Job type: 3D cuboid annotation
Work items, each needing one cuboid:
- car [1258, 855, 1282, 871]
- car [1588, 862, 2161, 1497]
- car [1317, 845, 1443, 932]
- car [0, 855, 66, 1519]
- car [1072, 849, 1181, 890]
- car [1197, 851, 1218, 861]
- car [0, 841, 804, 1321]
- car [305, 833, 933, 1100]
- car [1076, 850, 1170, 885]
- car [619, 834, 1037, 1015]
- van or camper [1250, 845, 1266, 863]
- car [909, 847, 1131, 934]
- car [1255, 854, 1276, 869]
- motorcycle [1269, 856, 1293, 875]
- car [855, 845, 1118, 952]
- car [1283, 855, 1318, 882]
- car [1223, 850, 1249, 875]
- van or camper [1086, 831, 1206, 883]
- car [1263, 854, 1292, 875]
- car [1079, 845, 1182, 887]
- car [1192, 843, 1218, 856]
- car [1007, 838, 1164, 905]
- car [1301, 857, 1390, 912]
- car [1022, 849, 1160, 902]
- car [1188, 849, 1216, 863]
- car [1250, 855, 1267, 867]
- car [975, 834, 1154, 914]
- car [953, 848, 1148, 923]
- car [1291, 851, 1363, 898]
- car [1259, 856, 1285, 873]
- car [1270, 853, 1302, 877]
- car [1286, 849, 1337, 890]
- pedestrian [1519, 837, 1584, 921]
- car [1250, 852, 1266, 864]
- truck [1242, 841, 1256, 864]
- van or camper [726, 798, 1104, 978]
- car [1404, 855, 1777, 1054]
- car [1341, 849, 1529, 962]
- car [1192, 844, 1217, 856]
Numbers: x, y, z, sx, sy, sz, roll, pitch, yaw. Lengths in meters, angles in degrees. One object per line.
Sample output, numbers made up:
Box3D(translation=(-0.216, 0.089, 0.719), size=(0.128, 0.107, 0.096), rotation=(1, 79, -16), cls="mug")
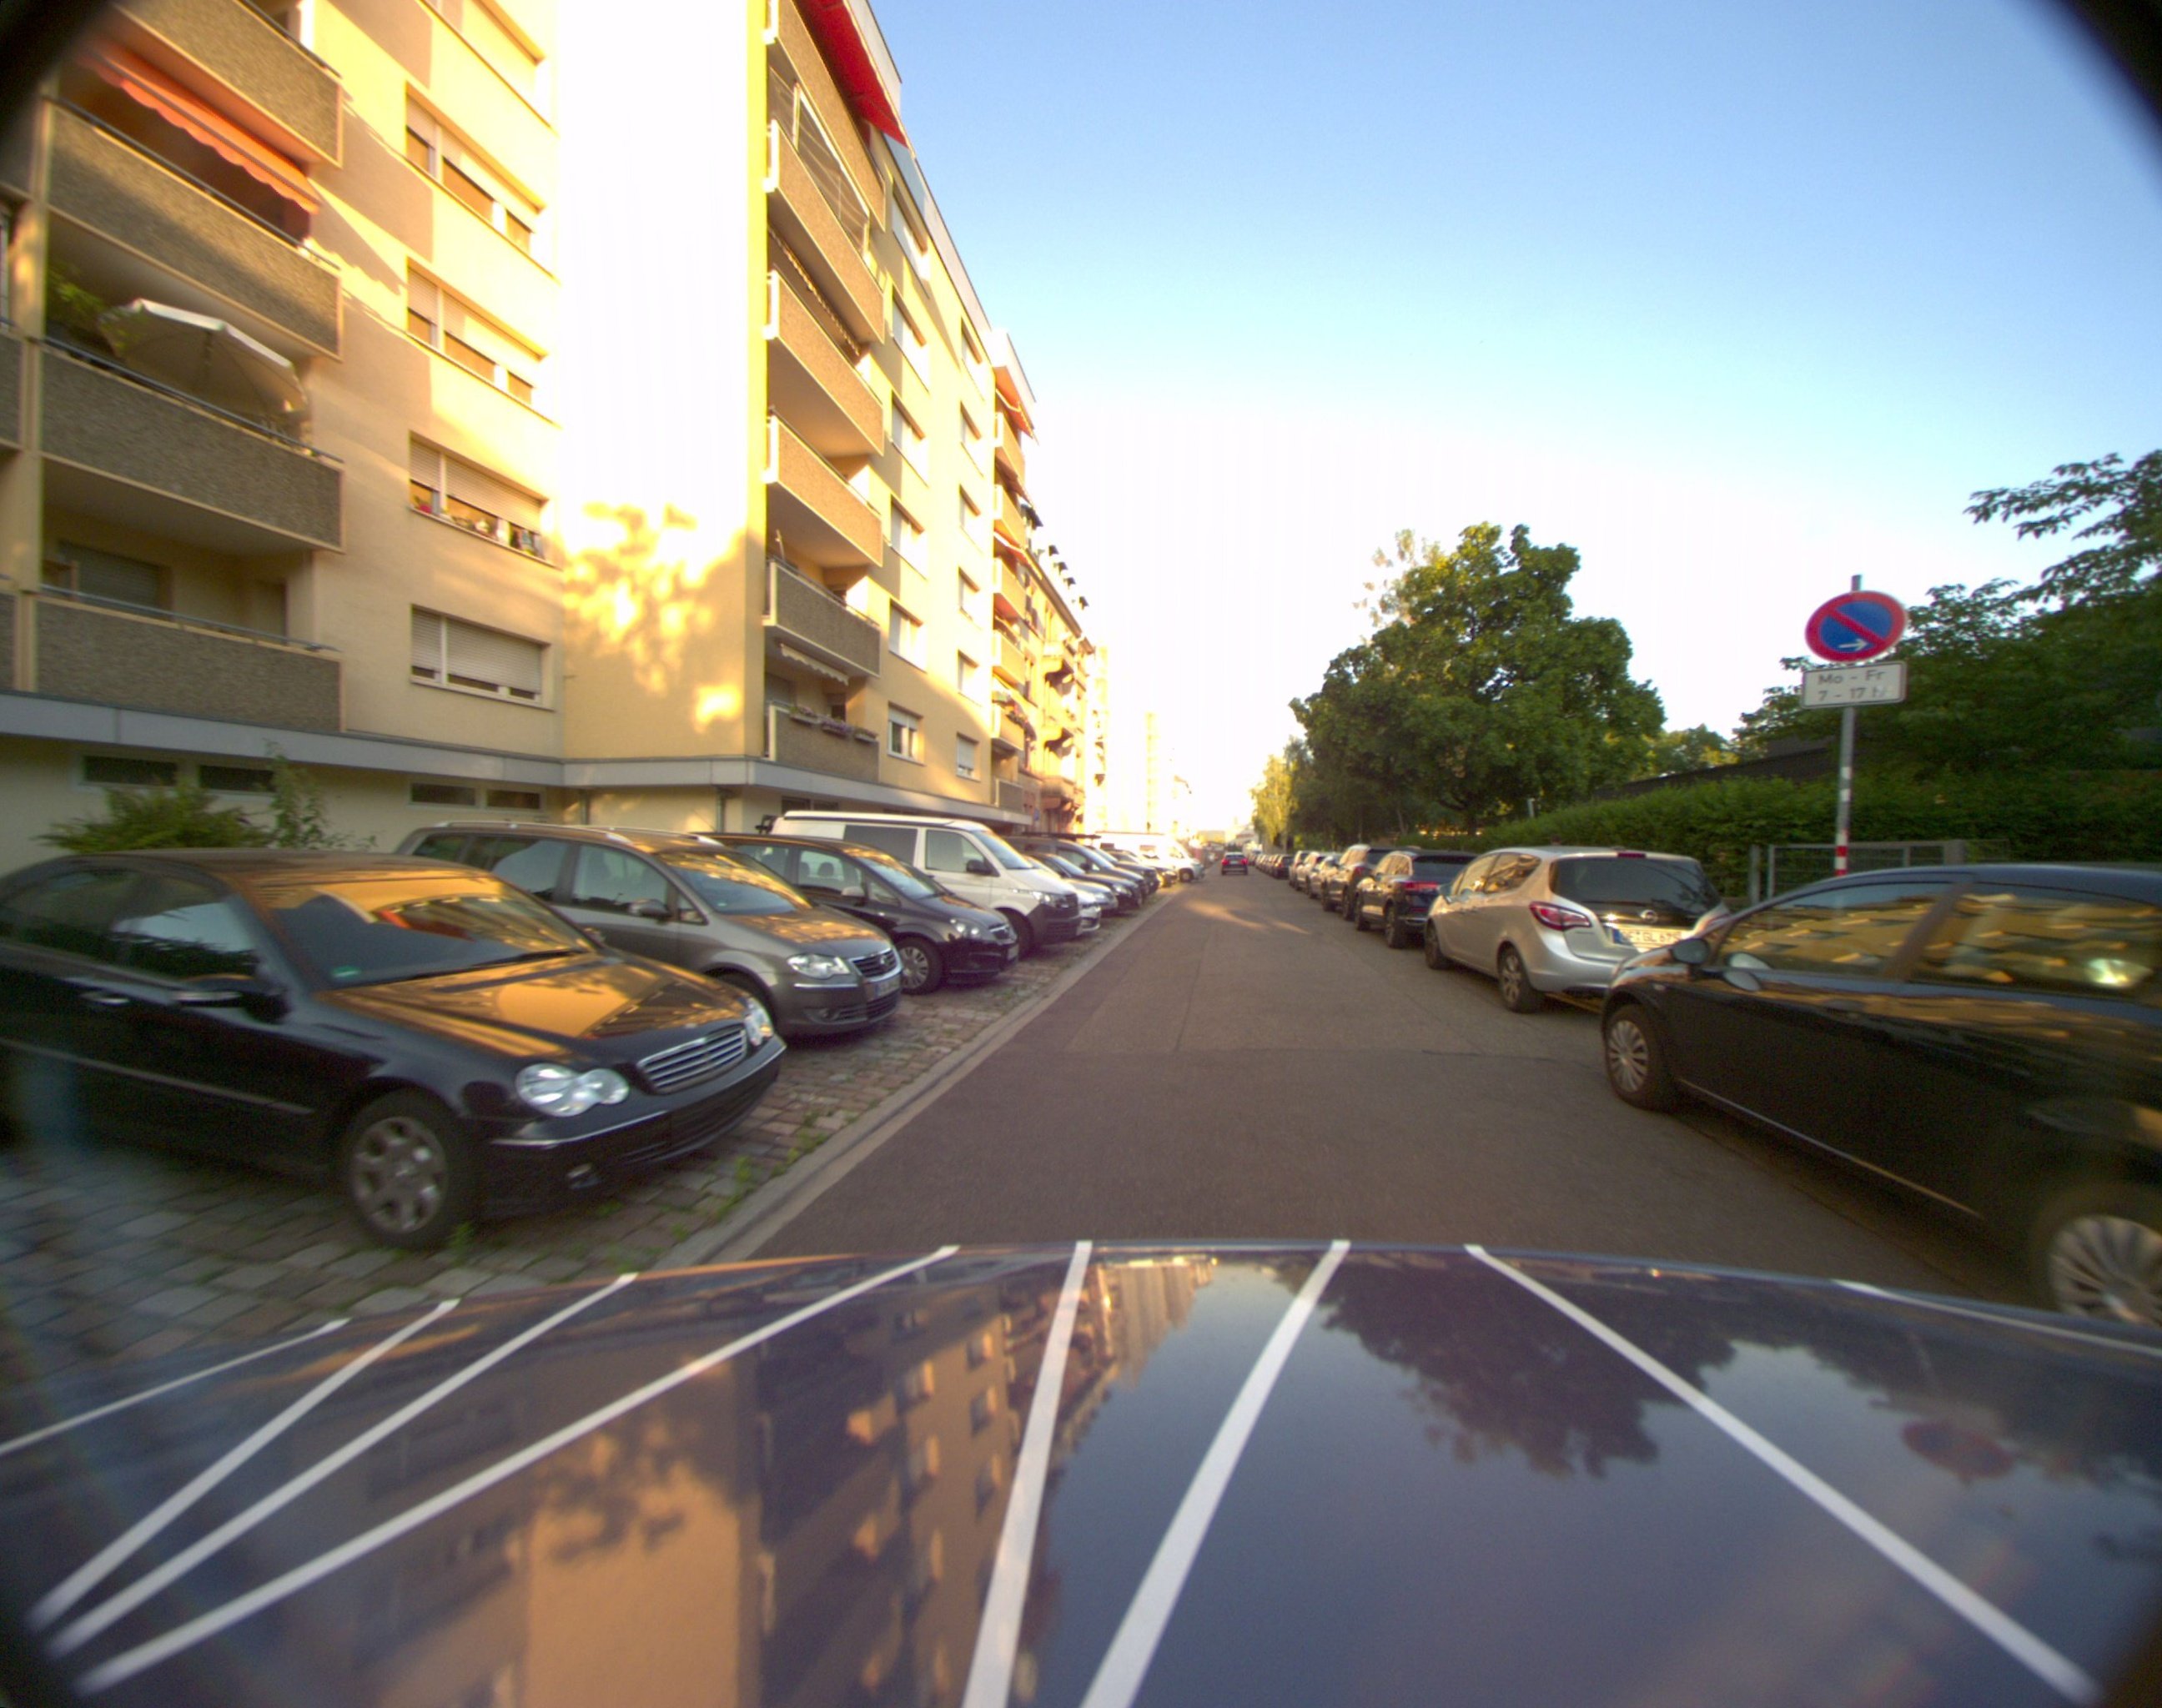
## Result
Box3D(translation=(16.469, 0.772, 66.449), size=(1.736, 1.358, 3.808), rotation=(2, 0, 10), cls="car")
Box3D(translation=(3.786, 0.854, 2.875), size=(1.736, 1.558, 3.700), rotation=(2, 0, 10), cls="car")
Box3D(translation=(6.746, 0.692, 17.641), size=(1.736, 1.720, 4.326), rotation=(2, 0, 8), cls="car")
Box3D(translation=(-4.944, 0.669, 1.524), size=(4.409, 1.622, 1.847), rotation=(4, 1, 13), cls="car")
Box3D(translation=(1.992, 0.629, 32.555), size=(4.410, 1.545, 1.847), rotation=(2, 3, 12), cls="car")
Box3D(translation=(25.571, 0.376, 153.482), size=(3.993, 2.002, 2.002), rotation=(-1, 0, 11), cls="car")
Box3D(translation=(-3.944, 0.773, 3.862), size=(4.411, 1.523, 1.846), rotation=(2, 3, 9), cls="car")
Box3D(translation=(-3.727, 0.751, 6.511), size=(4.411, 1.652, 1.846), rotation=(3, 3, 9), cls="car")
Box3D(translation=(2.121, 0.634, 37.734), size=(4.410, 1.610, 1.847), rotation=(0, 2, 13), cls="car")
Box3D(translation=(-2.866, 0.698, 9.033), size=(4.333, 1.652, 1.782), rotation=(3, 3, 9), cls="car")
Box3D(translation=(24.141, -0.015, 103.750), size=(1.823, 2.400, 4.295), rotation=(2, 0, 10), cls="van or camper")
Box3D(translation=(-1.245, 0.712, 16.376), size=(4.410, 1.584, 1.846), rotation=(2, 3, 11), cls="car")
Box3D(translation=(18.091, 0.717, 74.744), size=(1.736, 1.358, 4.295), rotation=(2, 0, 10), cls="car")
Box3D(translation=(13.905, 0.796, 52.884), size=(1.594, 1.251, 0.786), rotation=(-1, 1, 14), cls="motorcycle")
Box3D(translation=(-1.659, 0.731, 13.957), size=(4.410, 1.622, 1.846), rotation=(2, 3, 11), cls="car")
Box3D(translation=(12.660, 0.809, 43.989), size=(1.622, 1.417, 3.418), rotation=(2, 0, 11), cls="car")
Box3D(translation=(11.104, 0.589, 54.610), size=(1.736, 1.622, 4.129), rotation=(2, 0, 11), cls="car")
Box3D(translation=(3.486, 0.129, 40.374), size=(6.068, 2.490, 2.052), rotation=(2, 1, 11), cls="van or camper")
Box3D(translation=(14.446, 0.763, 55.887), size=(1.736, 1.417, 3.808), rotation=(2, 0, 10), cls="car")
Box3D(translation=(2.315, 0.508, 35.111), size=(4.409, 1.739, 1.847), rotation=(2, 3, 15), cls="car")
Box3D(translation=(19.789, -0.729, 121.531), size=(3.993, 2.002, 2.002), rotation=(-1, 0, 11), cls="car")
Box3D(translation=(0.186, 0.504, 23.388), size=(4.519, 1.852, 1.847), rotation=(2, 1, 11), cls="car")
Box3D(translation=(7.932, 0.849, 23.132), size=(1.736, 1.418, 4.290), rotation=(2, 0, 8), cls="car")
Box3D(translation=(0.383, 0.694, 26.032), size=(4.409, 1.545, 1.847), rotation=(2, 3, 13), cls="car")
Box3D(translation=(17.595, 0.338, 110.700), size=(3.993, 2.002, 2.002), rotation=(-1, 0, 11), cls="car")
Box3D(translation=(21.614, 0.809, 92.652), size=(1.736, 1.358, 4.295), rotation=(2, 0, 10), cls="car")
Box3D(translation=(-0.407, 0.493, 21.109), size=(4.644, 1.970, 1.846), rotation=(2, 3, 11), cls="car")
Box3D(translation=(-0.686, 0.710, 18.579), size=(4.410, 1.554, 1.846), rotation=(2, 3, 11), cls="car")
Box3D(translation=(8.915, 0.690, 27.875), size=(1.762, 1.534, 4.283), rotation=(2, 0, 8), cls="car")
Box3D(translation=(15.423, 0.843, 61.343), size=(1.736, 1.280, 3.808), rotation=(2, 0, 10), cls="car")
Box3D(translation=(13.310, 0.677, 49.595), size=(1.736, 1.438, 3.808), rotation=(2, 0, 11), cls="car")
Box3D(translation=(9.987, 0.646, 33.134), size=(1.736, 1.622, 3.984), rotation=(2, 0, 12), cls="car")
Box3D(translation=(10.038, 0.529, 16.230), size=(0.900, 1.722, 0.751), rotation=(-3, 0, 10), cls="pedestrian")
Box3D(translation=(22.911, 0.493, 98.289), size=(1.736, 1.502, 4.295), rotation=(2, 0, 10), cls="car")
Box3D(translation=(28.743, -0.220, 130.249), size=(2.181, 3.860, 4.930), rotation=(-1, 0, 11), cls="truck")
Box3D(translation=(-2.393, 0.417, 11.617), size=(5.141, 2.155, 2.041), rotation=(4, 2, 9), cls="van or camper")
Box3D(translation=(5.029, 0.814, 8.297), size=(1.736, 1.558, 4.132), rotation=(2, 0, 8), cls="car")
Box3D(translation=(5.766, 0.723, 12.948), size=(1.736, 1.558, 4.170), rotation=(2, 0, 8), cls="car")
Box3D(translation=(20.307, -0.652, 124.650), size=(3.993, 2.002, 2.002), rotation=(-1, 0, 11), cls="car")
